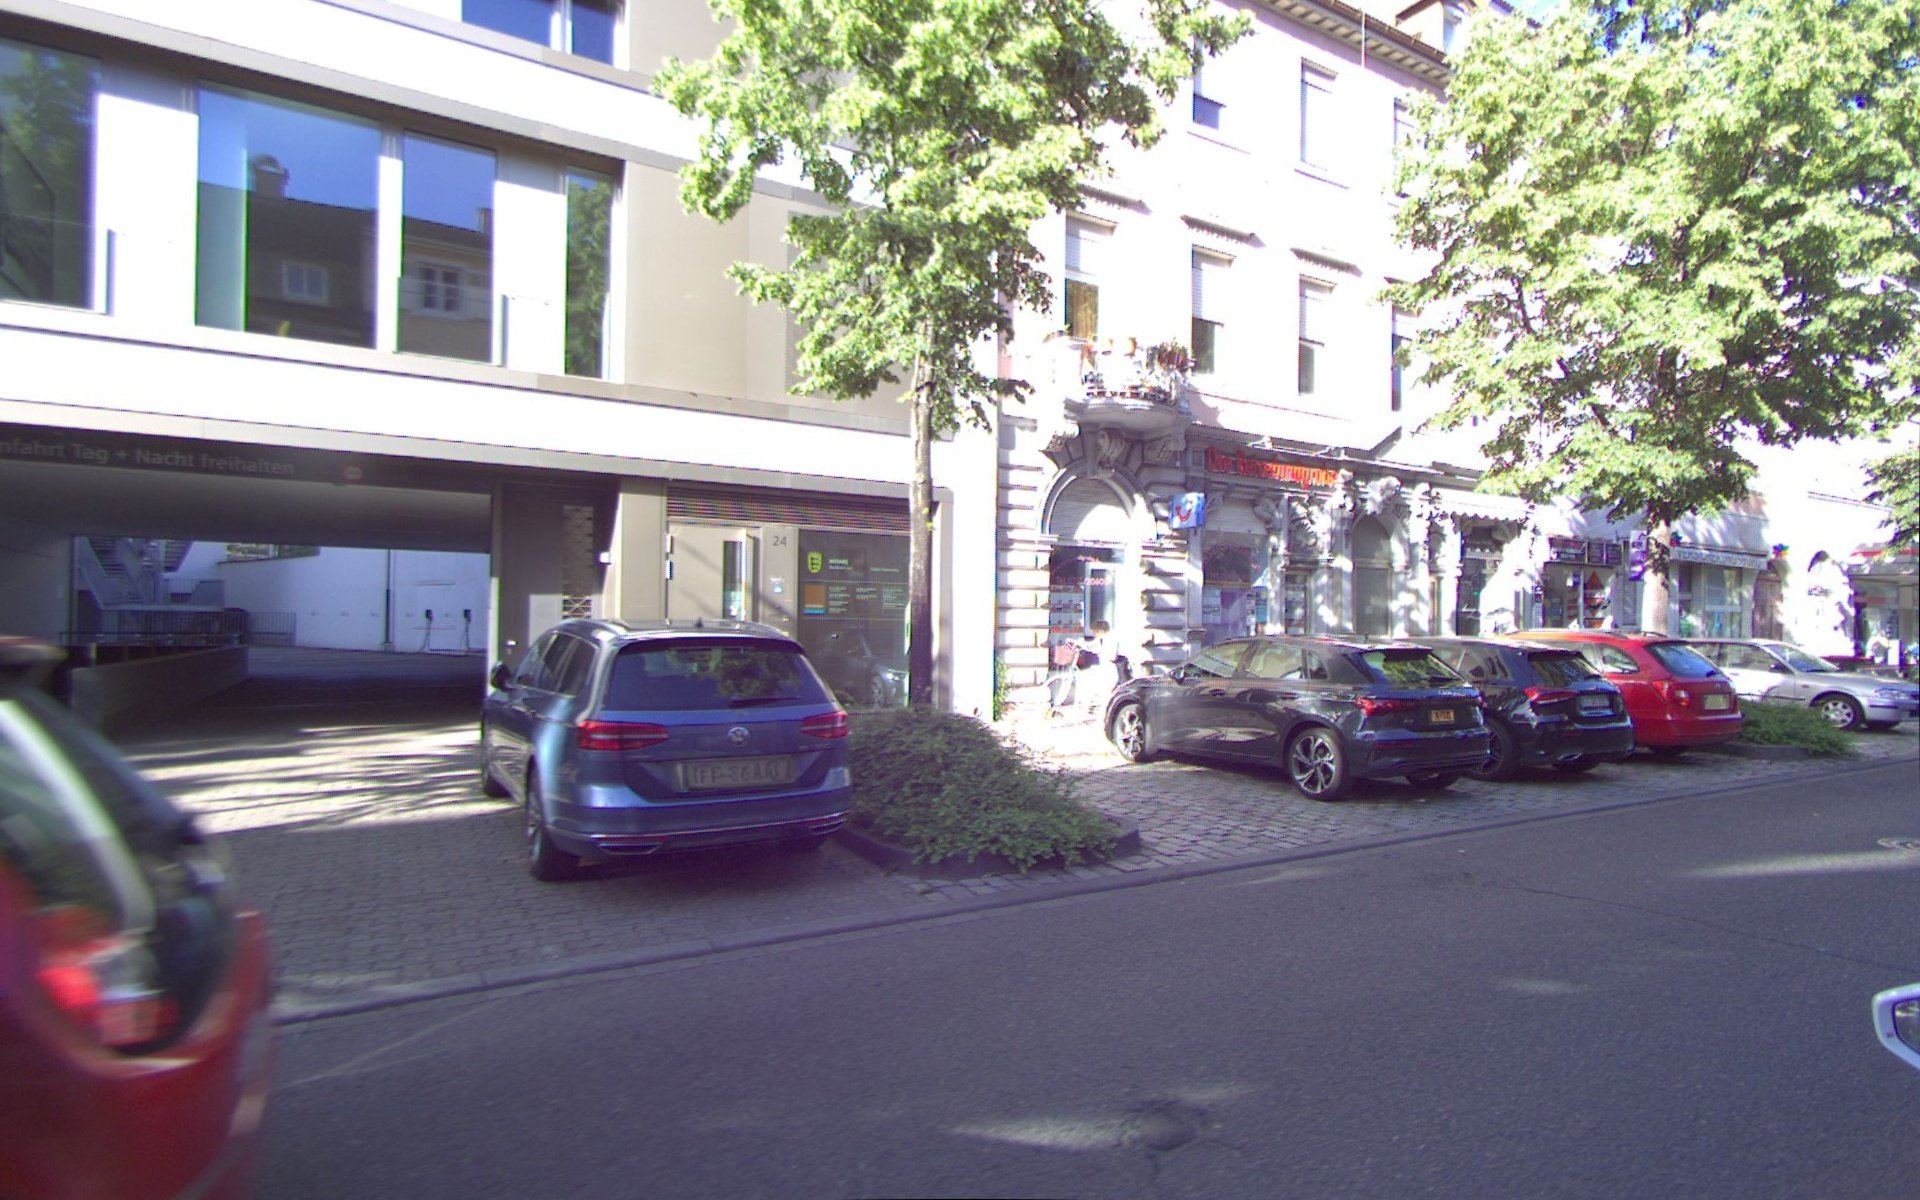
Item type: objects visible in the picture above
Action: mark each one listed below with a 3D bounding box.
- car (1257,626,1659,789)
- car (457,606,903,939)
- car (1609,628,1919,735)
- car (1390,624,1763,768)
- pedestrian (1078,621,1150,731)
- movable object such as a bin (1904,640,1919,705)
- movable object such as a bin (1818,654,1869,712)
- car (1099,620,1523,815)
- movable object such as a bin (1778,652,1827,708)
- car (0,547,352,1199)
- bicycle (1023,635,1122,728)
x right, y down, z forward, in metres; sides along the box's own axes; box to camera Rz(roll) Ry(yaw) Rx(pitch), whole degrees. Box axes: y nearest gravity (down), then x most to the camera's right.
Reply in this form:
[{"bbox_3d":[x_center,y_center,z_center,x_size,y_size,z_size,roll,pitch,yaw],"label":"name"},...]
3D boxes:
[{"bbox_3d":[5.442,1.063,11.481,1.767,1.448,3.825,1,-1,-28],"label":"car"},{"bbox_3d":[-2.280,0.836,7.064,1.771,1.478,4.466,1,0,-33],"label":"car"},{"bbox_3d":[13.645,1.257,17.013,1.718,1.488,4.186,1,-1,-28],"label":"car"},{"bbox_3d":[7.691,1.090,12.890,1.719,1.488,3.730,1,-1,-30],"label":"car"},{"bbox_3d":[2.070,1.000,13.498,0.814,1.427,0.506,1,0,-26],"label":"pedestrian"},{"bbox_3d":[20.458,1.526,21.083,0.796,1.359,0.751,1,-2,-31],"label":"movable object such as a bin"},{"bbox_3d":[17.200,1.596,19.557,0.796,1.083,0.528,1,-2,-32],"label":"movable object such as a bin"},{"bbox_3d":[3.284,0.988,10.173,1.749,1.505,3.903,1,-1,-28],"label":"car"},{"bbox_3d":[16.877,1.583,20.122,0.796,1.083,0.528,1,-2,-32],"label":"movable object such as a bin"},{"bbox_3d":[-3.009,0.709,1.313,3.716,1.555,1.650,1,-3,-30],"label":"car"},{"bbox_3d":[1.549,1.101,13.822,1.281,1.208,0.455,1,1,-27],"label":"bicycle"}]
